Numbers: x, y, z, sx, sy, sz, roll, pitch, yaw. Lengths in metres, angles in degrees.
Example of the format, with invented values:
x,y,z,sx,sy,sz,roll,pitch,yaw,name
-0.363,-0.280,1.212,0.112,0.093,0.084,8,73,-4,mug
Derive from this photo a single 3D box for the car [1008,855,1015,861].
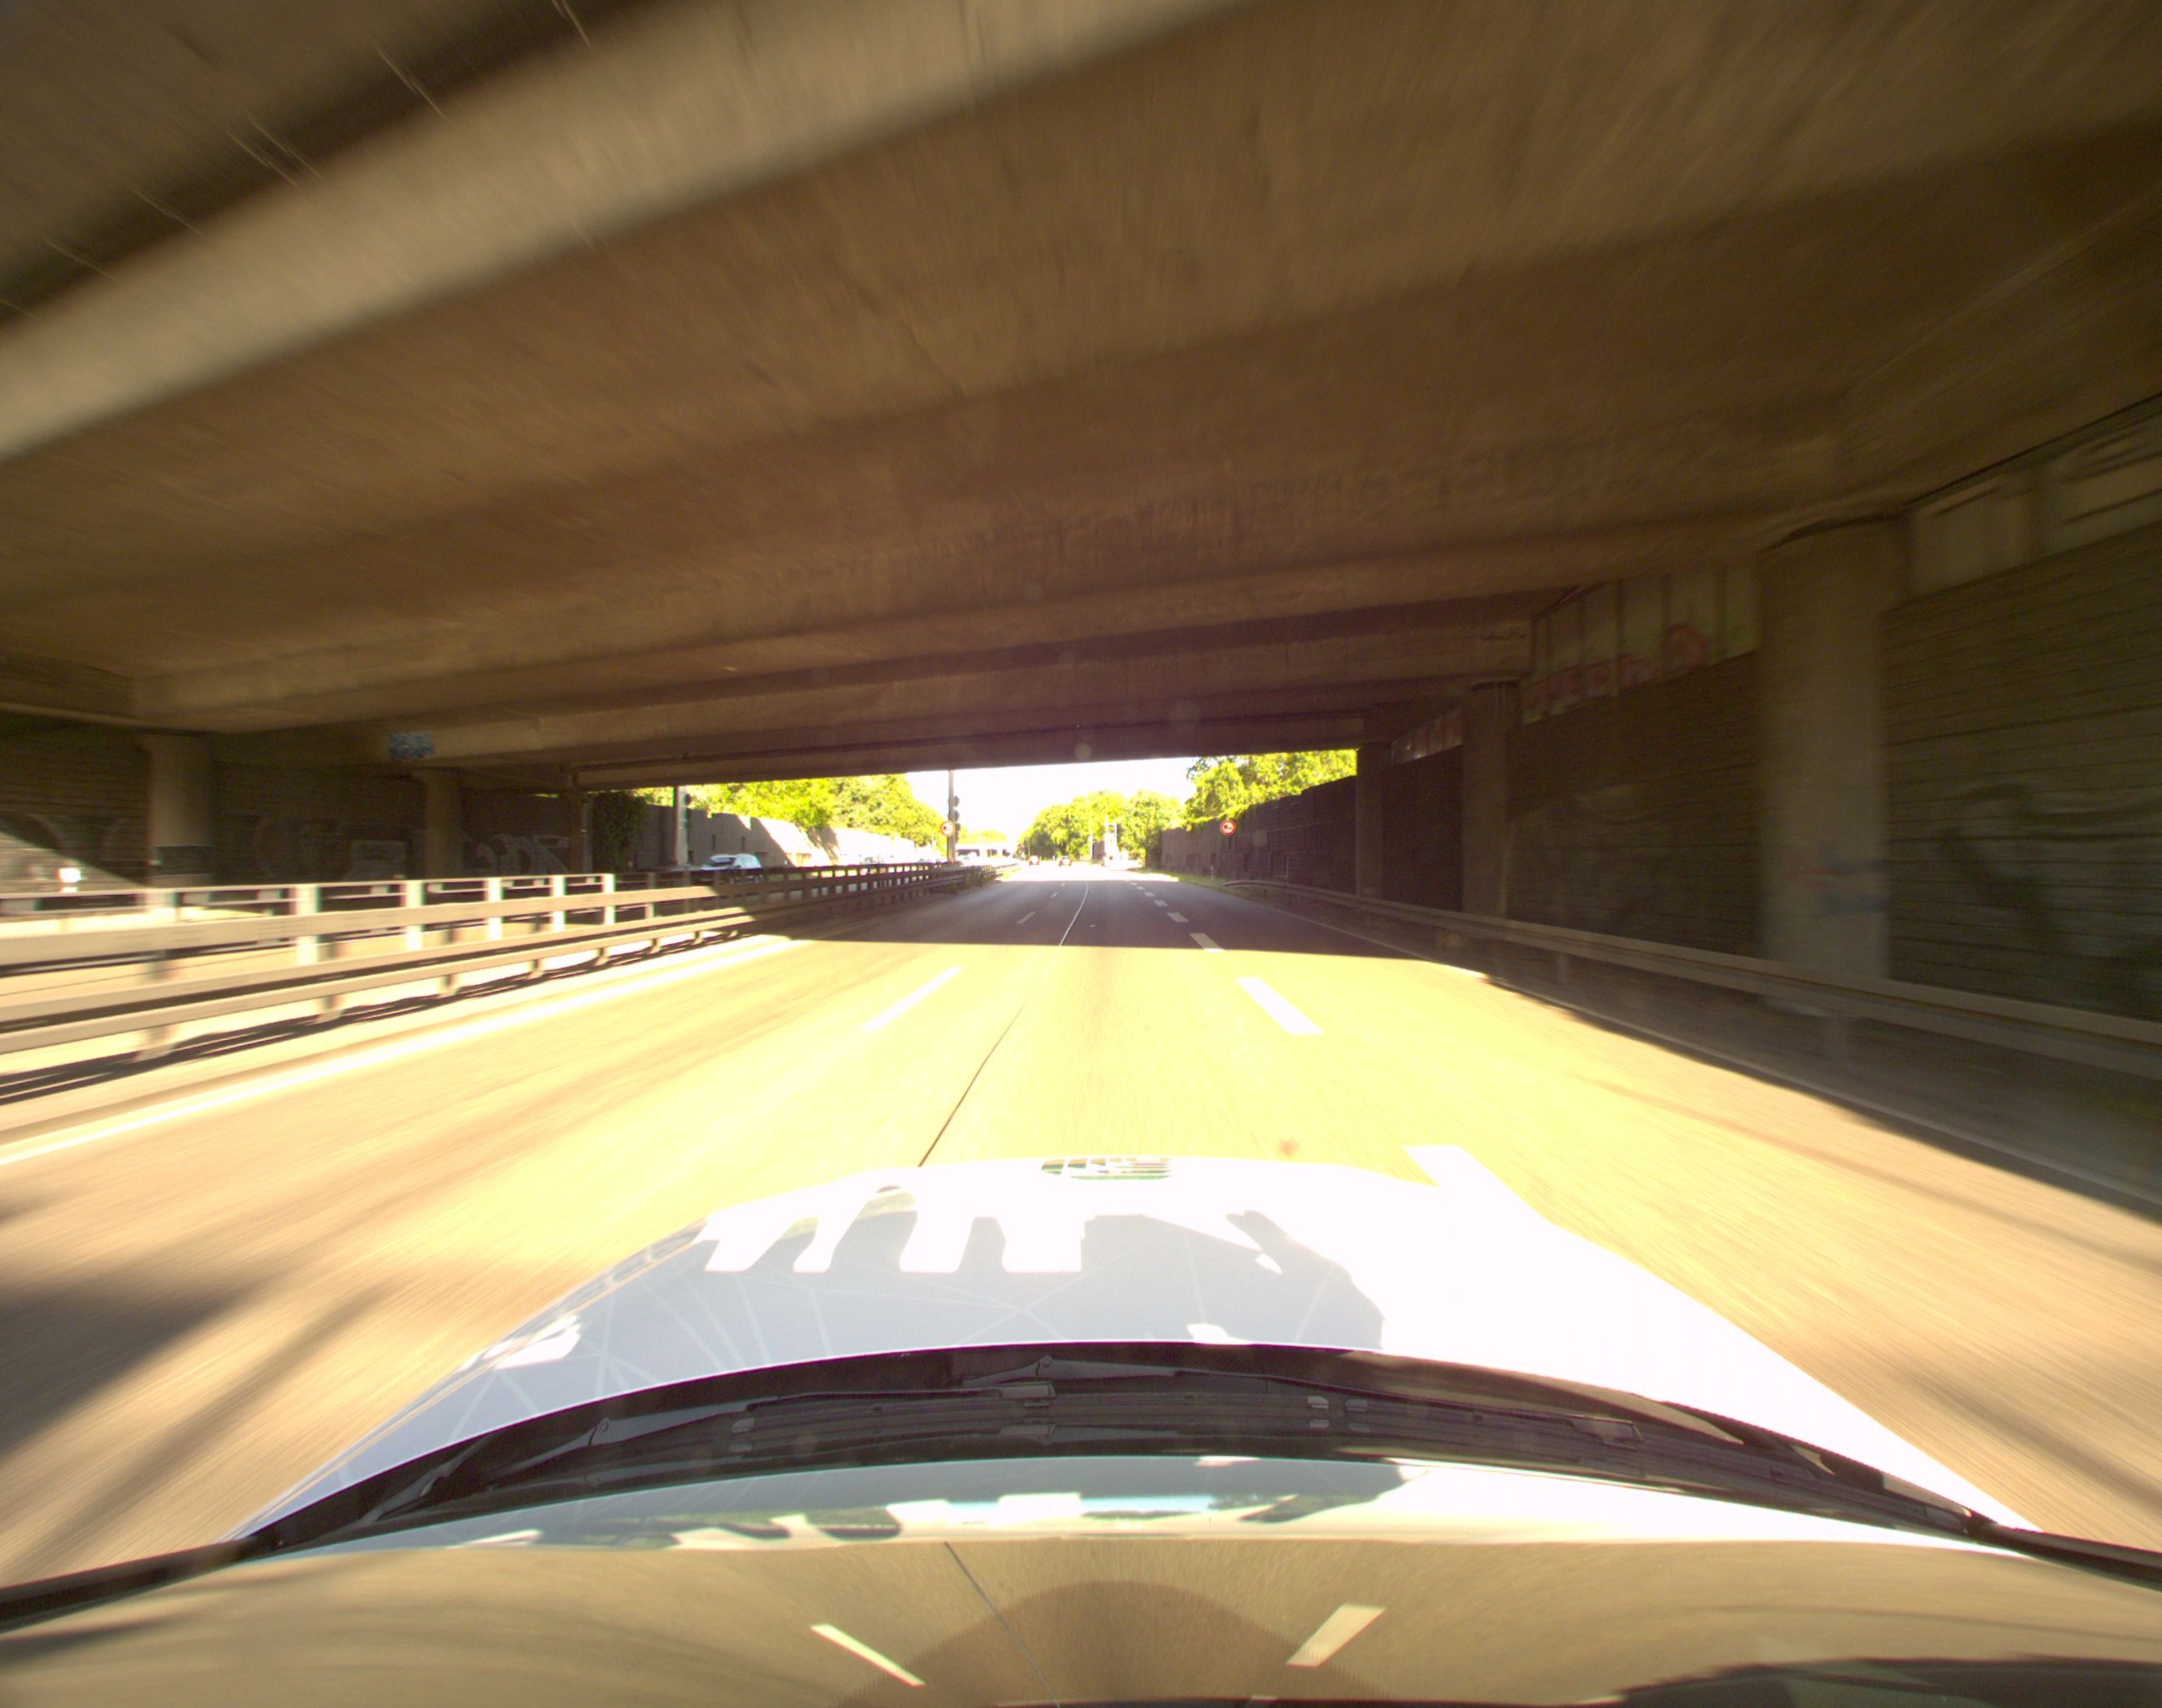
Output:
x,y,z,sx,sy,sz,roll,pitch,yaw,name
-21.883,1.355,257.159,1.994,1.925,3.986,0,0,-10,car

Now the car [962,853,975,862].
x,y,z,sx,sy,sz,roll,pitch,yaw,name
-20.688,0.674,149.654,1.893,1.574,4.803,2,0,-2,car

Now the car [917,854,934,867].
x,y,z,sx,sy,sz,roll,pitch,yaw,name
-19.925,0.806,104.493,1.542,1.574,4.392,2,0,-2,car

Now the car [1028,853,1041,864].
x,y,z,sx,sy,sz,roll,pitch,yaw,name
-7.689,0.742,135.926,1.987,1.925,3.999,0,0,-1,car

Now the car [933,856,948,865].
x,y,z,sx,sy,sz,roll,pitch,yaw,name
-22.931,1.011,132.772,1.893,1.421,4.131,-2,0,-3,car

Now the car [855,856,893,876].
x,y,z,sx,sy,sz,roll,pitch,yaw,name
-17.585,1.025,69.265,1.986,1.596,4.428,0,0,1,car

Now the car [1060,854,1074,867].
x,y,z,sx,sy,sz,roll,pitch,yaw,name
-2.009,0.930,120.454,1.987,1.925,3.999,0,0,-1,car

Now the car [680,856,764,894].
x,y,z,sx,sy,sz,roll,pitch,yaw,name
-17.731,0.972,40.496,1.986,1.706,4.562,-1,0,1,car
